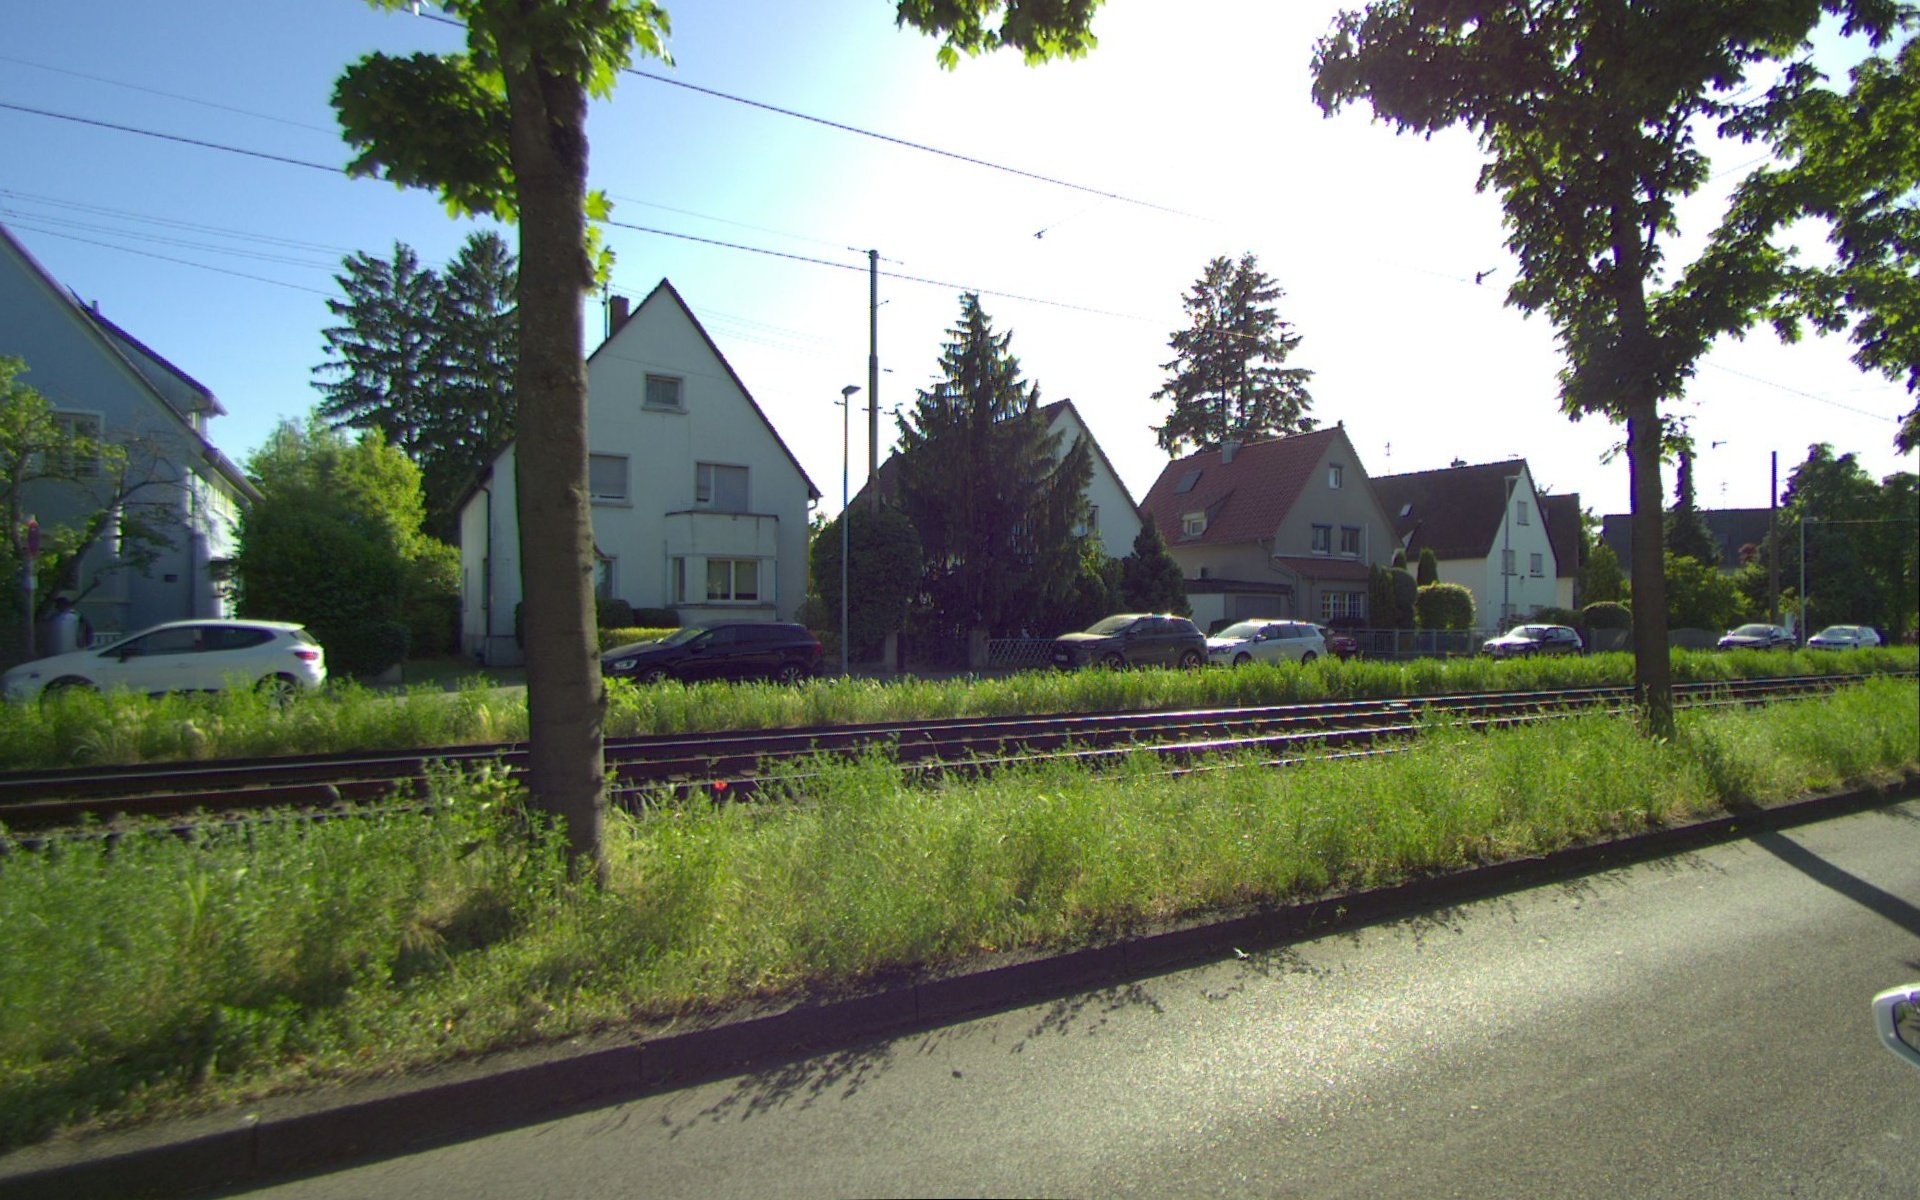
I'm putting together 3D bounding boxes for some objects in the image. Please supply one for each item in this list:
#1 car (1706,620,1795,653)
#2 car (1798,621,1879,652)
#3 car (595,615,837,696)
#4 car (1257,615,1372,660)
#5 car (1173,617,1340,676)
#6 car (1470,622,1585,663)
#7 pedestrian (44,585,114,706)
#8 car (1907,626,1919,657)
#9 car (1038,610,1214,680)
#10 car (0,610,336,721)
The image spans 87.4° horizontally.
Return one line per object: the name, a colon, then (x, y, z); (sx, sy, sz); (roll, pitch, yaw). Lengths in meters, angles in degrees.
car: (36.151, 1.658, 45.907); (4.111, 1.432, 1.850); (1, 0, -31)
car: (44.524, 1.840, 50.887); (4.411, 1.450, 1.850); (1, 0, -31)
car: (-4.990, 1.097, 20.729); (4.550, 1.485, 1.720); (1, 0, -31)
car: (13.531, 1.401, 38.575); (1.866, 1.472, 3.899); (-1, 1, -30)
car: (8.694, 1.322, 29.328); (4.724, 1.566, 1.984); (1, 0, -30)
car: (20.624, 1.521, 36.475); (4.179, 1.388, 1.850); (1, 0, -31)
pedestrian: (-15.259, 0.763, 17.417); (0.763, 2.040, 0.677); (1, 0, -31)
car: (57.100, 2.433, 58.516); (4.179, 1.730, 1.769); (1, 0, -31)
car: (4.401, 1.153, 26.366); (4.503, 1.673, 1.739); (1, 0, -31)
car: (-12.654, 0.990, 16.345); (4.179, 1.562, 1.850); (1, 0, -31)
